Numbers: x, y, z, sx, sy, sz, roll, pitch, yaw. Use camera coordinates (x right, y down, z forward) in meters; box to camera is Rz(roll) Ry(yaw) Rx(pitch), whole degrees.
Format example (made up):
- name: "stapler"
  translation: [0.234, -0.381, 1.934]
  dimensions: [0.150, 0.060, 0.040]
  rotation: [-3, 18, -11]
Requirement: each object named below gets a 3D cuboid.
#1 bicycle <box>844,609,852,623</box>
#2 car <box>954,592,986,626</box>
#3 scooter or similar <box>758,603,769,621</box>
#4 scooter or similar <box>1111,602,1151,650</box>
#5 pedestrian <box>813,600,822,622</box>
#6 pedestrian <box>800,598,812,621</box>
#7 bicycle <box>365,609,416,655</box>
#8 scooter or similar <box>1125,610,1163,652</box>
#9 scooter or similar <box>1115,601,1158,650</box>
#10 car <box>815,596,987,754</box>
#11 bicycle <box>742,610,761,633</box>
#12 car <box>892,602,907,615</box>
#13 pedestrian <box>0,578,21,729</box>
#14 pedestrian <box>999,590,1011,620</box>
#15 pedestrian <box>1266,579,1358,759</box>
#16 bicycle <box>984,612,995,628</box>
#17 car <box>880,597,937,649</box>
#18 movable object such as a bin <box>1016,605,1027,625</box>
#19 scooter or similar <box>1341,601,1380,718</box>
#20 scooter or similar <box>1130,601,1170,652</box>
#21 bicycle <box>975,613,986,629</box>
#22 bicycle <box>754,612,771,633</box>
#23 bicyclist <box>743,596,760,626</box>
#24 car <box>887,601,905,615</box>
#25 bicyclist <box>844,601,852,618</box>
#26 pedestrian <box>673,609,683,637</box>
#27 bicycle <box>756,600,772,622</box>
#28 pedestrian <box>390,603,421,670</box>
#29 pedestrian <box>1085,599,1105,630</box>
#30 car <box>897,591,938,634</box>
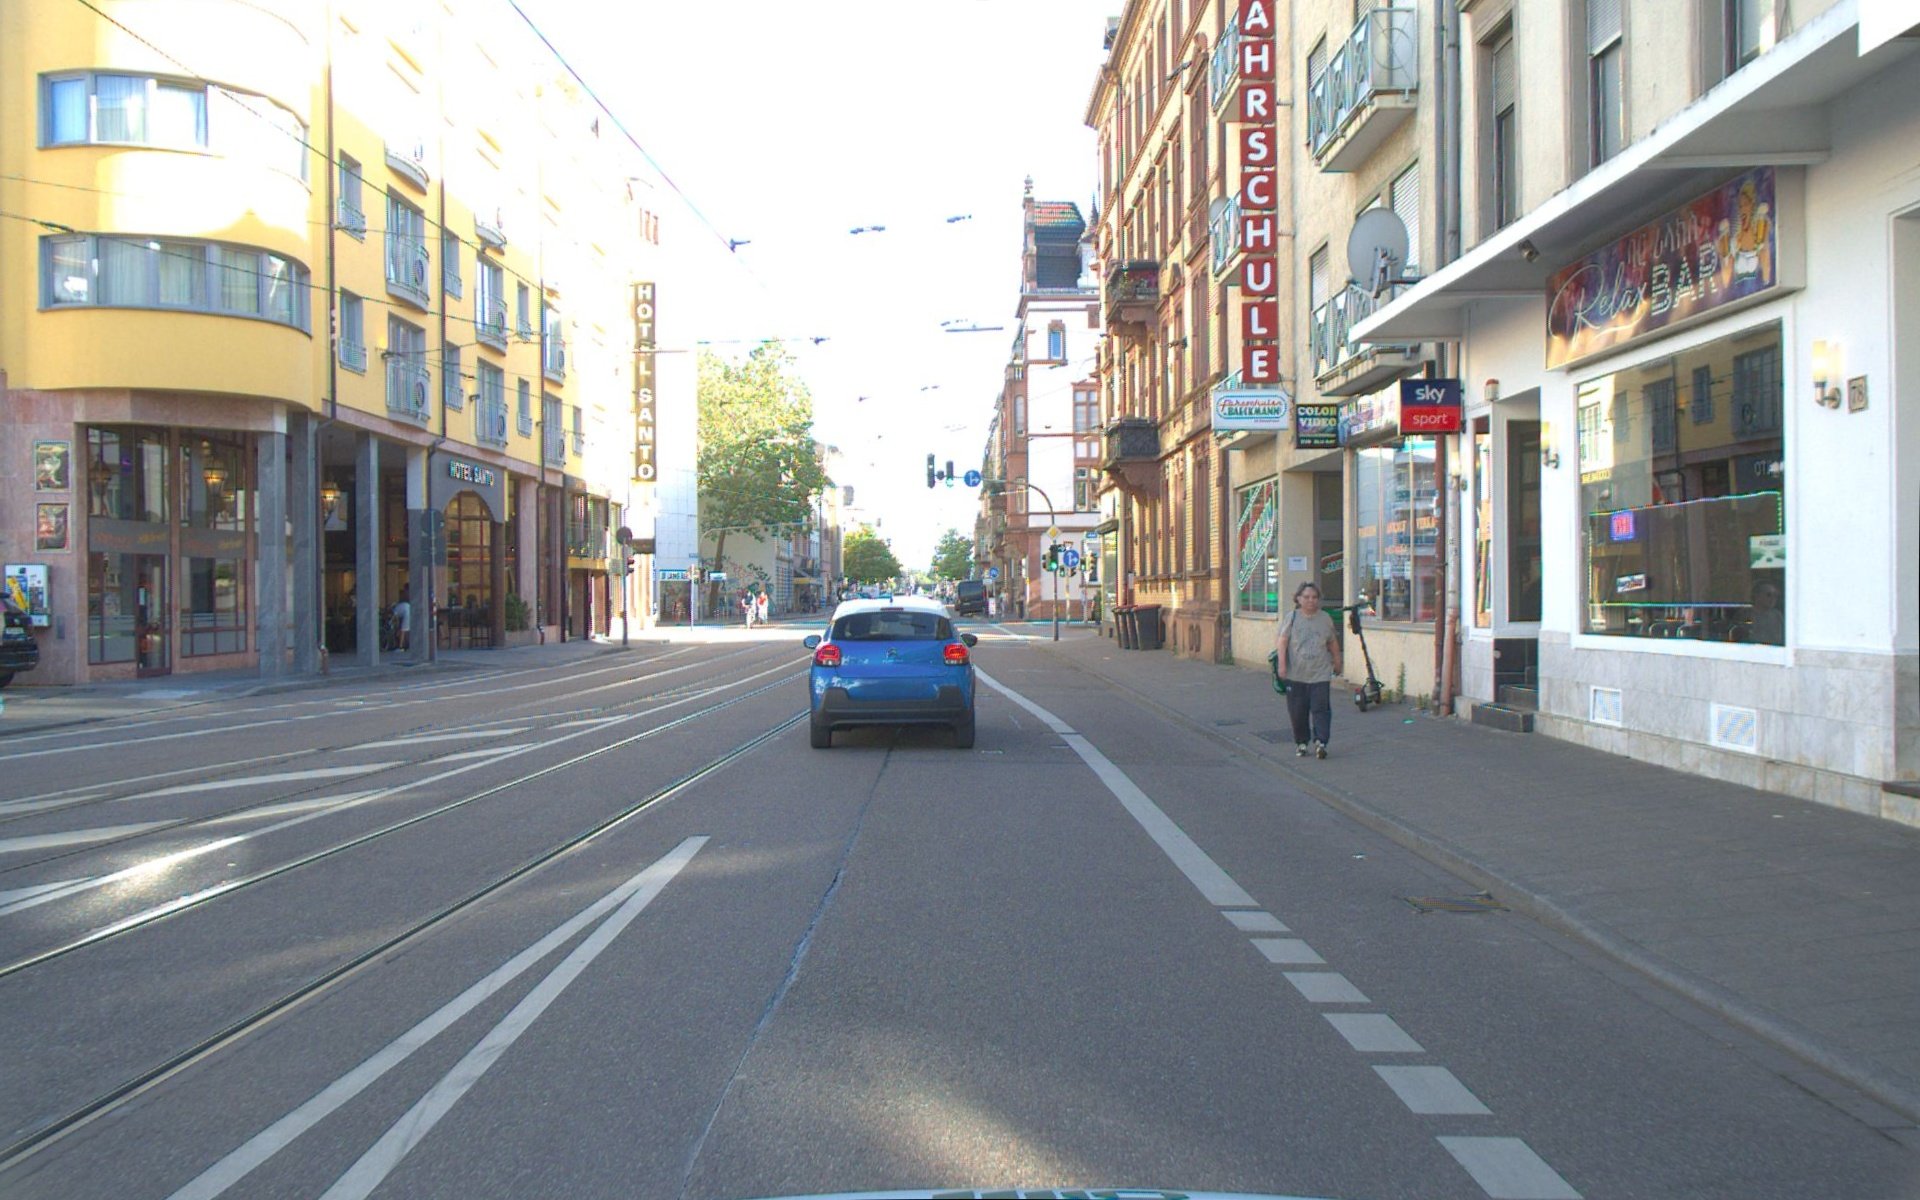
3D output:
- name: "bicycle"
  translation: [-9.982, 1.424, 147.606]
  dimensions: [0.679, 1.140, 2.083]
  rotation: [0, 0, -2]
- name: "car"
  translation: [0.747, 0.683, 123.023]
  dimensions: [2.225, 2.479, 5.718]
  rotation: [0, 0, -1]
- name: "scooter or similar"
  translation: [-14.549, 0.907, 122.440]
  dimensions: [0.772, 1.294, 1.074]
  rotation: [0, 0, -2]
- name: "scooter or similar"
  translation: [4.428, 0.663, 42.954]
  dimensions: [0.879, 1.168, 0.547]
  rotation: [-4, 0, -3]
- name: "pedestrian"
  translation: [-11.960, 0.927, 138.509]
  dimensions: [0.696, 1.795, 0.570]
  rotation: [-1, 0, -2]
- name: "pedestrian"
  translation: [-12.089, 0.765, 129.963]
  dimensions: [0.668, 1.796, 1.026]
  rotation: [0, 0, 9]
- name: "bicycle"
  translation: [-15.646, 0.868, 45.514]
  dimensions: [0.569, 1.224, 2.081]
  rotation: [0, 0, 3]
- name: "scooter or similar"
  translation: [4.579, 0.764, 41.119]
  dimensions: [0.775, 0.974, 0.680]
  rotation: [-4, 0, -3]
- name: "scooter or similar"
  translation: [4.458, 0.645, 41.808]
  dimensions: [0.915, 1.168, 0.650]
  rotation: [-4, 0, -3]
- name: "car"
  translation: [-0.681, 0.731, 17.975]
  dimensions: [1.640, 1.503, 3.997]
  rotation: [1, 0, -3]
- name: "bicycle"
  translation: [-9.973, 1.022, 79.166]
  dimensions: [0.716, 1.107, 2.060]
  rotation: [0, 0, -3]
- name: "car"
  translation: [-8.054, 1.121, 218.470]
  dimensions: [1.953, 1.774, 4.561]
  rotation: [0, 0, -2]
- name: "pedestrian"
  translation: [-12.897, 0.703, 21.827]
  dimensions: [0.624, 1.980, 0.709]
  rotation: [0, -1, -2]
- name: "pedestrian"
  translation: [2.762, 0.300, 101.880]
  dimensions: [0.691, 1.813, 0.672]
  rotation: [0, 0, -3]
- name: "pedestrian"
  translation: [3.193, 0.608, 15.041]
  dimensions: [0.635, 1.588, 0.781]
  rotation: [0, 0, -2]
- name: "bicycle"
  translation: [1.819, 1.224, 102.661]
  dimensions: [0.423, 0.964, 1.760]
  rotation: [0, -1, -8]
- name: "car"
  translation: [-1.565, 0.668, 49.689]
  dimensions: [1.633, 1.504, 3.998]
  rotation: [-1, 0, -2]
- name: "movable object such as a bin"
  translation: [3.594, 0.885, 96.877]
  dimensions: [0.652, 1.174, 0.594]
  rotation: [0, 0, 0]
- name: "scooter or similar"
  translation: [4.634, 0.668, 19.117]
  dimensions: [0.401, 1.304, 1.284]
  rotation: [0, 0, 15]
- name: "scooter or similar"
  translation: [4.626, 0.646, 40.300]
  dimensions: [0.775, 1.168, 0.789]
  rotation: [-4, 0, -3]
- name: "bicycle"
  translation: [1.276, 1.311, 102.545]
  dimensions: [0.423, 0.964, 1.760]
  rotation: [0, 0, -8]
- name: "bicycle"
  translation: [-10.451, 1.176, 87.462]
  dimensions: [0.716, 1.084, 2.060]
  rotation: [0, 0, -2]
- name: "bicyclist"
  translation: [-9.979, 0.527, 79.102]
  dimensions: [0.709, 1.405, 1.227]
  rotation: [1, 0, -3]
- name: "car"
  translation: [-6.898, 0.878, 178.837]
  dimensions: [1.945, 1.528, 4.307]
  rotation: [0, 0, -2]
- name: "bicyclist"
  translation: [-10.002, 0.890, 147.558]
  dimensions: [0.668, 1.509, 0.778]
  rotation: [0, 0, -2]
- name: "pedestrian"
  translation: [-16.125, 1.312, 94.594]
  dimensions: [0.531, 1.579, 0.516]
  rotation: [0, -1, -3]
- name: "bicycle"
  translation: [-10.626, 0.598, 89.767]
  dimensions: [0.716, 1.204, 2.060]
  rotation: [0, 0, -2]
- name: "pedestrian"
  translation: [-15.098, 0.997, 45.037]
  dimensions: [0.549, 1.801, 0.723]
  rotation: [0, -1, 3]
- name: "pedestrian"
  translation: [6.628, 0.713, 81.294]
  dimensions: [0.918, 1.482, 0.823]
  rotation: [0, 0, 1]
- name: "car"
  translation: [-2.092, 0.608, 81.335]
  dimensions: [1.953, 2.049, 3.998]
  rotation: [-1, 0, -2]
